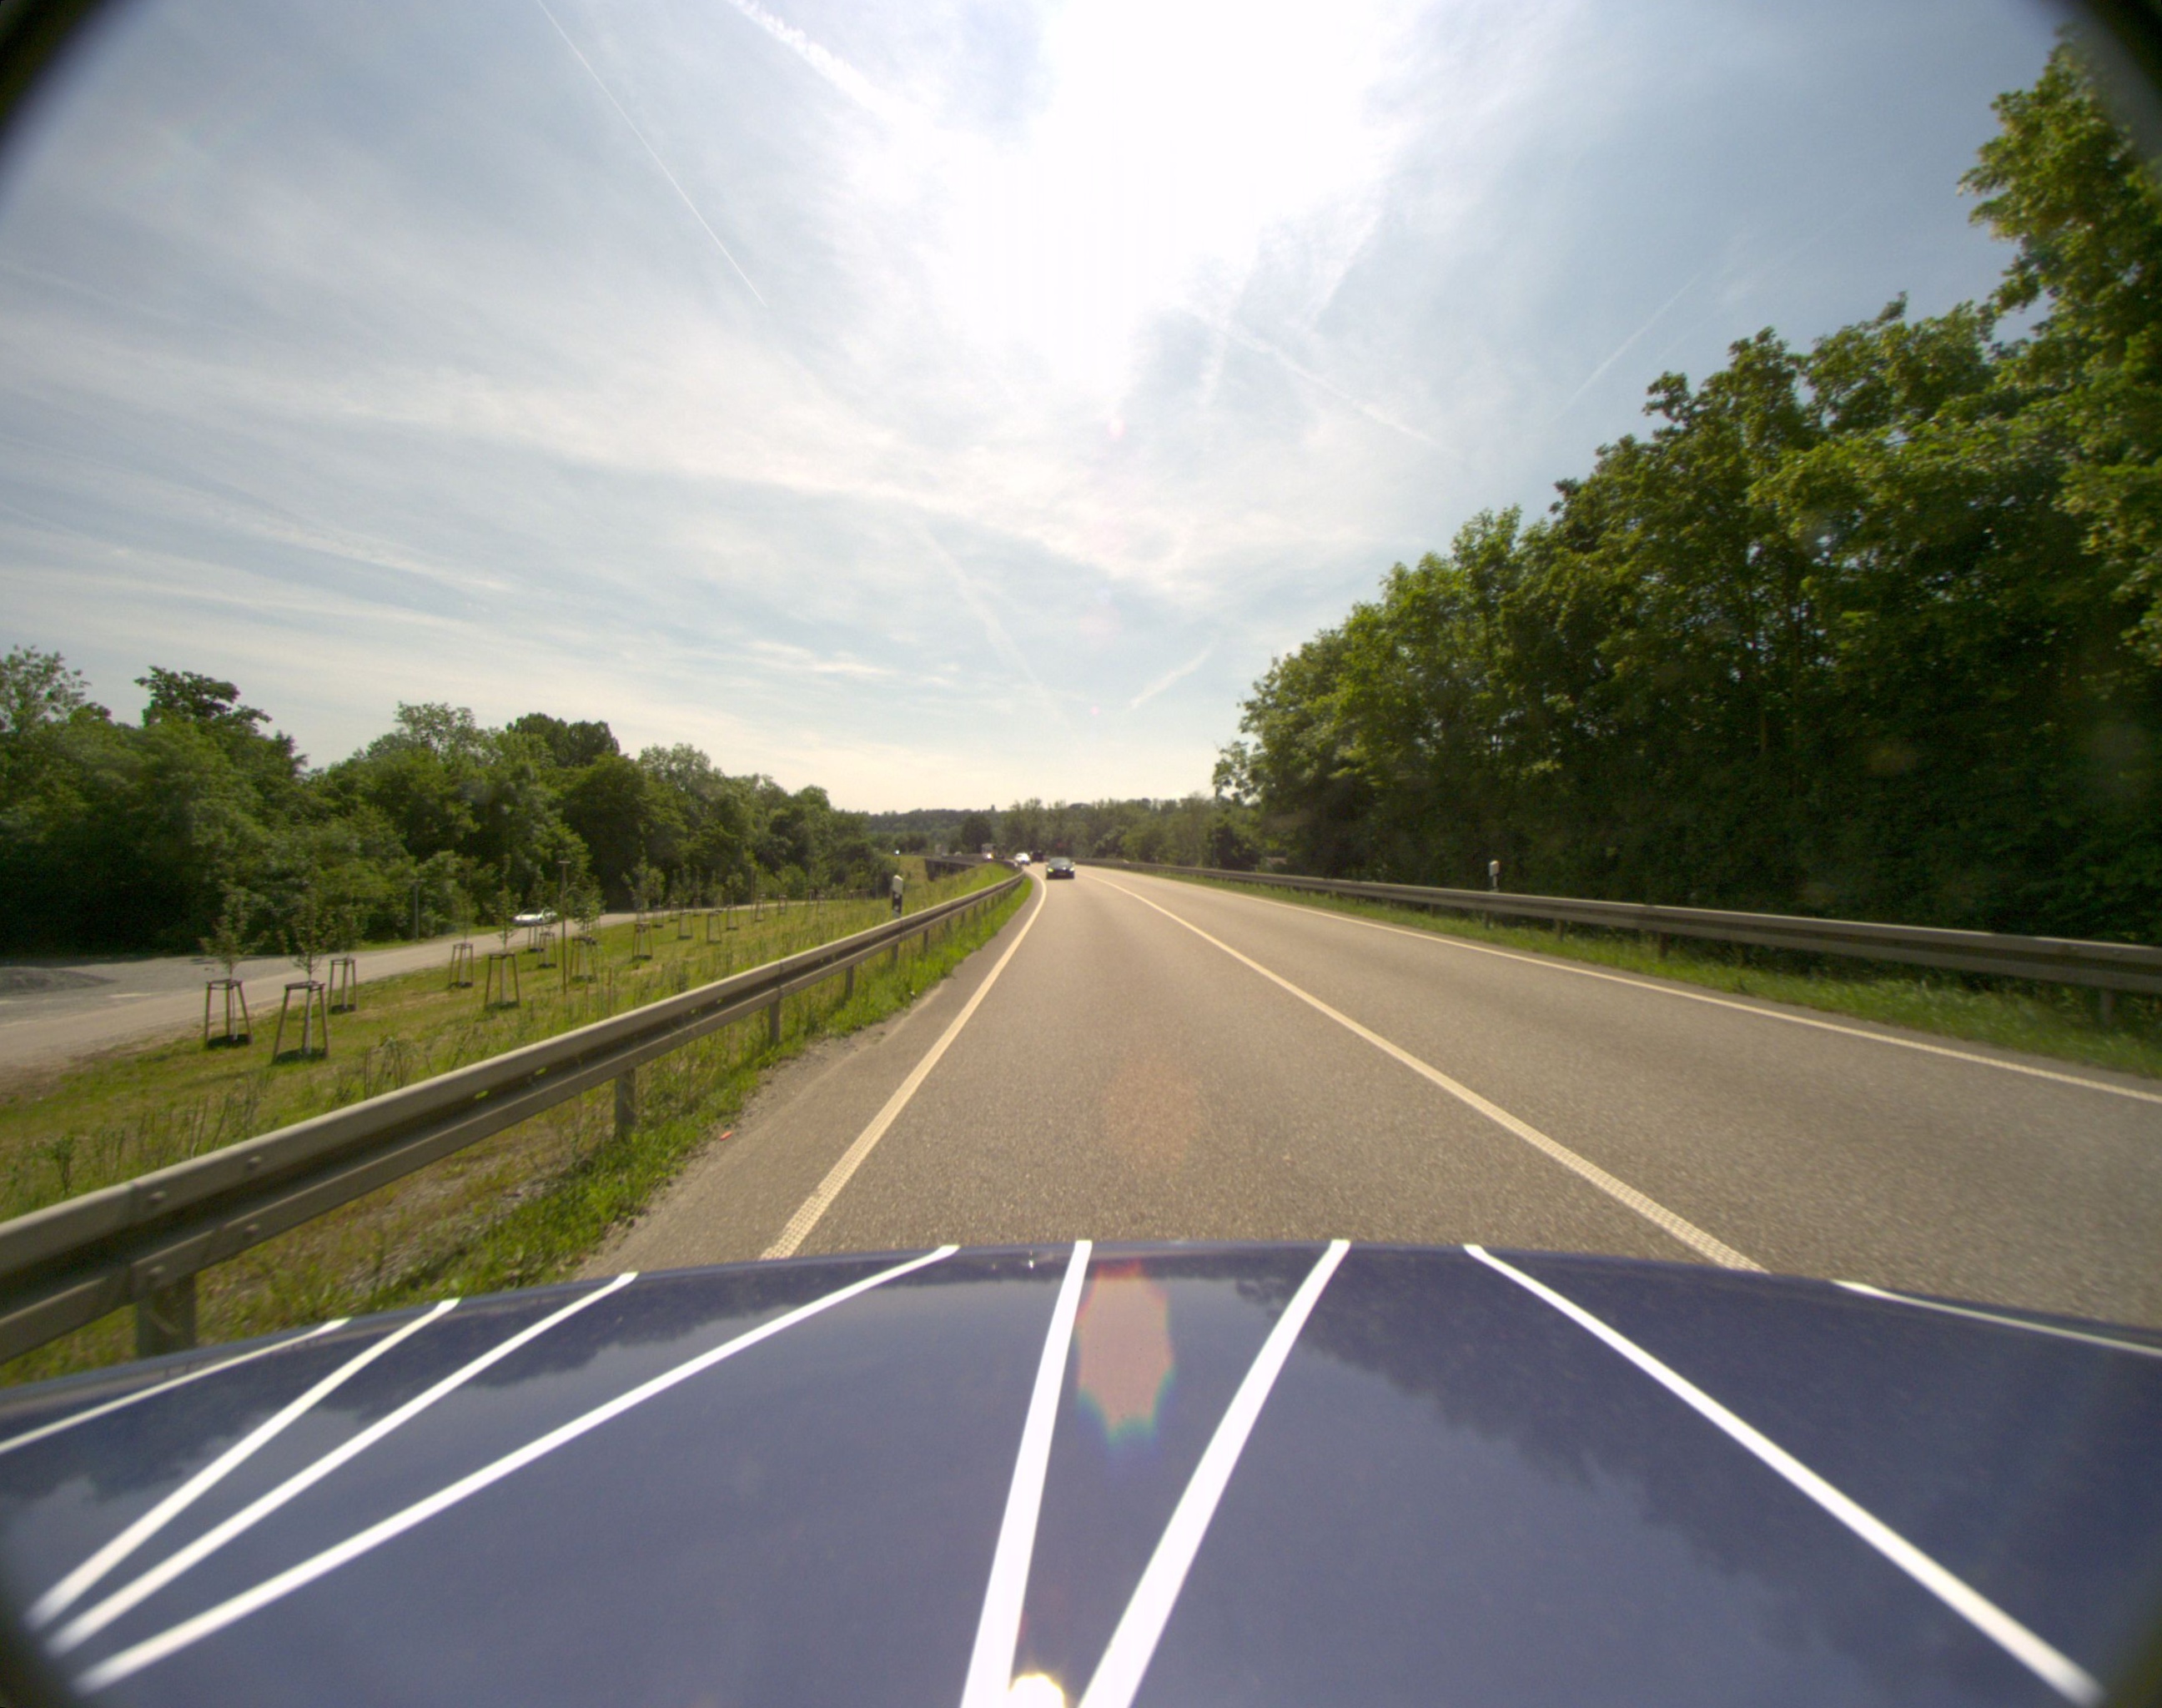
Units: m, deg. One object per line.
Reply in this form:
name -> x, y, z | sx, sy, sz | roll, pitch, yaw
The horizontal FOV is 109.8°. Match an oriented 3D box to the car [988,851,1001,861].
car -> -17.191, 0.411, 150.701 | 1.982, 1.723, 3.994 | -2, 2, -13

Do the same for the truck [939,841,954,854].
truck -> -41.966, -2.057, 236.505 | 2.926, 3.781, 9.692 | -2, 0, -19

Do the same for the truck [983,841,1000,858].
truck -> -20.769, -1.055, 175.741 | 3.130, 3.935, 6.613 | -1, 1, -14

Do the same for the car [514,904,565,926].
car -> -44.878, 5.017, 63.091 | 1.865, 1.474, 4.602 | 2, -1, -14

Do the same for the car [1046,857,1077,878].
car -> -1.367, 0.882, 51.361 | 1.981, 1.333, 3.999 | -1, 0, -3

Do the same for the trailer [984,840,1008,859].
trailer -> -19.078, -1.021, 169.166 | 3.130, 3.957, 15.335 | -1, 1, -14

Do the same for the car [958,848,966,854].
car -> -33.862, -0.800, 215.601 | 1.764, 1.503, 3.993 | -2, 2, -17

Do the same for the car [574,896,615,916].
car -> -47.401, 5.008, 74.088 | 1.864, 1.672, 4.196 | 2, -1, -11

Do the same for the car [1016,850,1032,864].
car -> -7.688, 0.391, 102.889 | 1.981, 1.779, 3.996 | -2, 2, -6

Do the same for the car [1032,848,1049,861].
car -> -6.467, 0.080, 120.185 | 1.928, 1.849, 5.170 | -2, 1, -11
